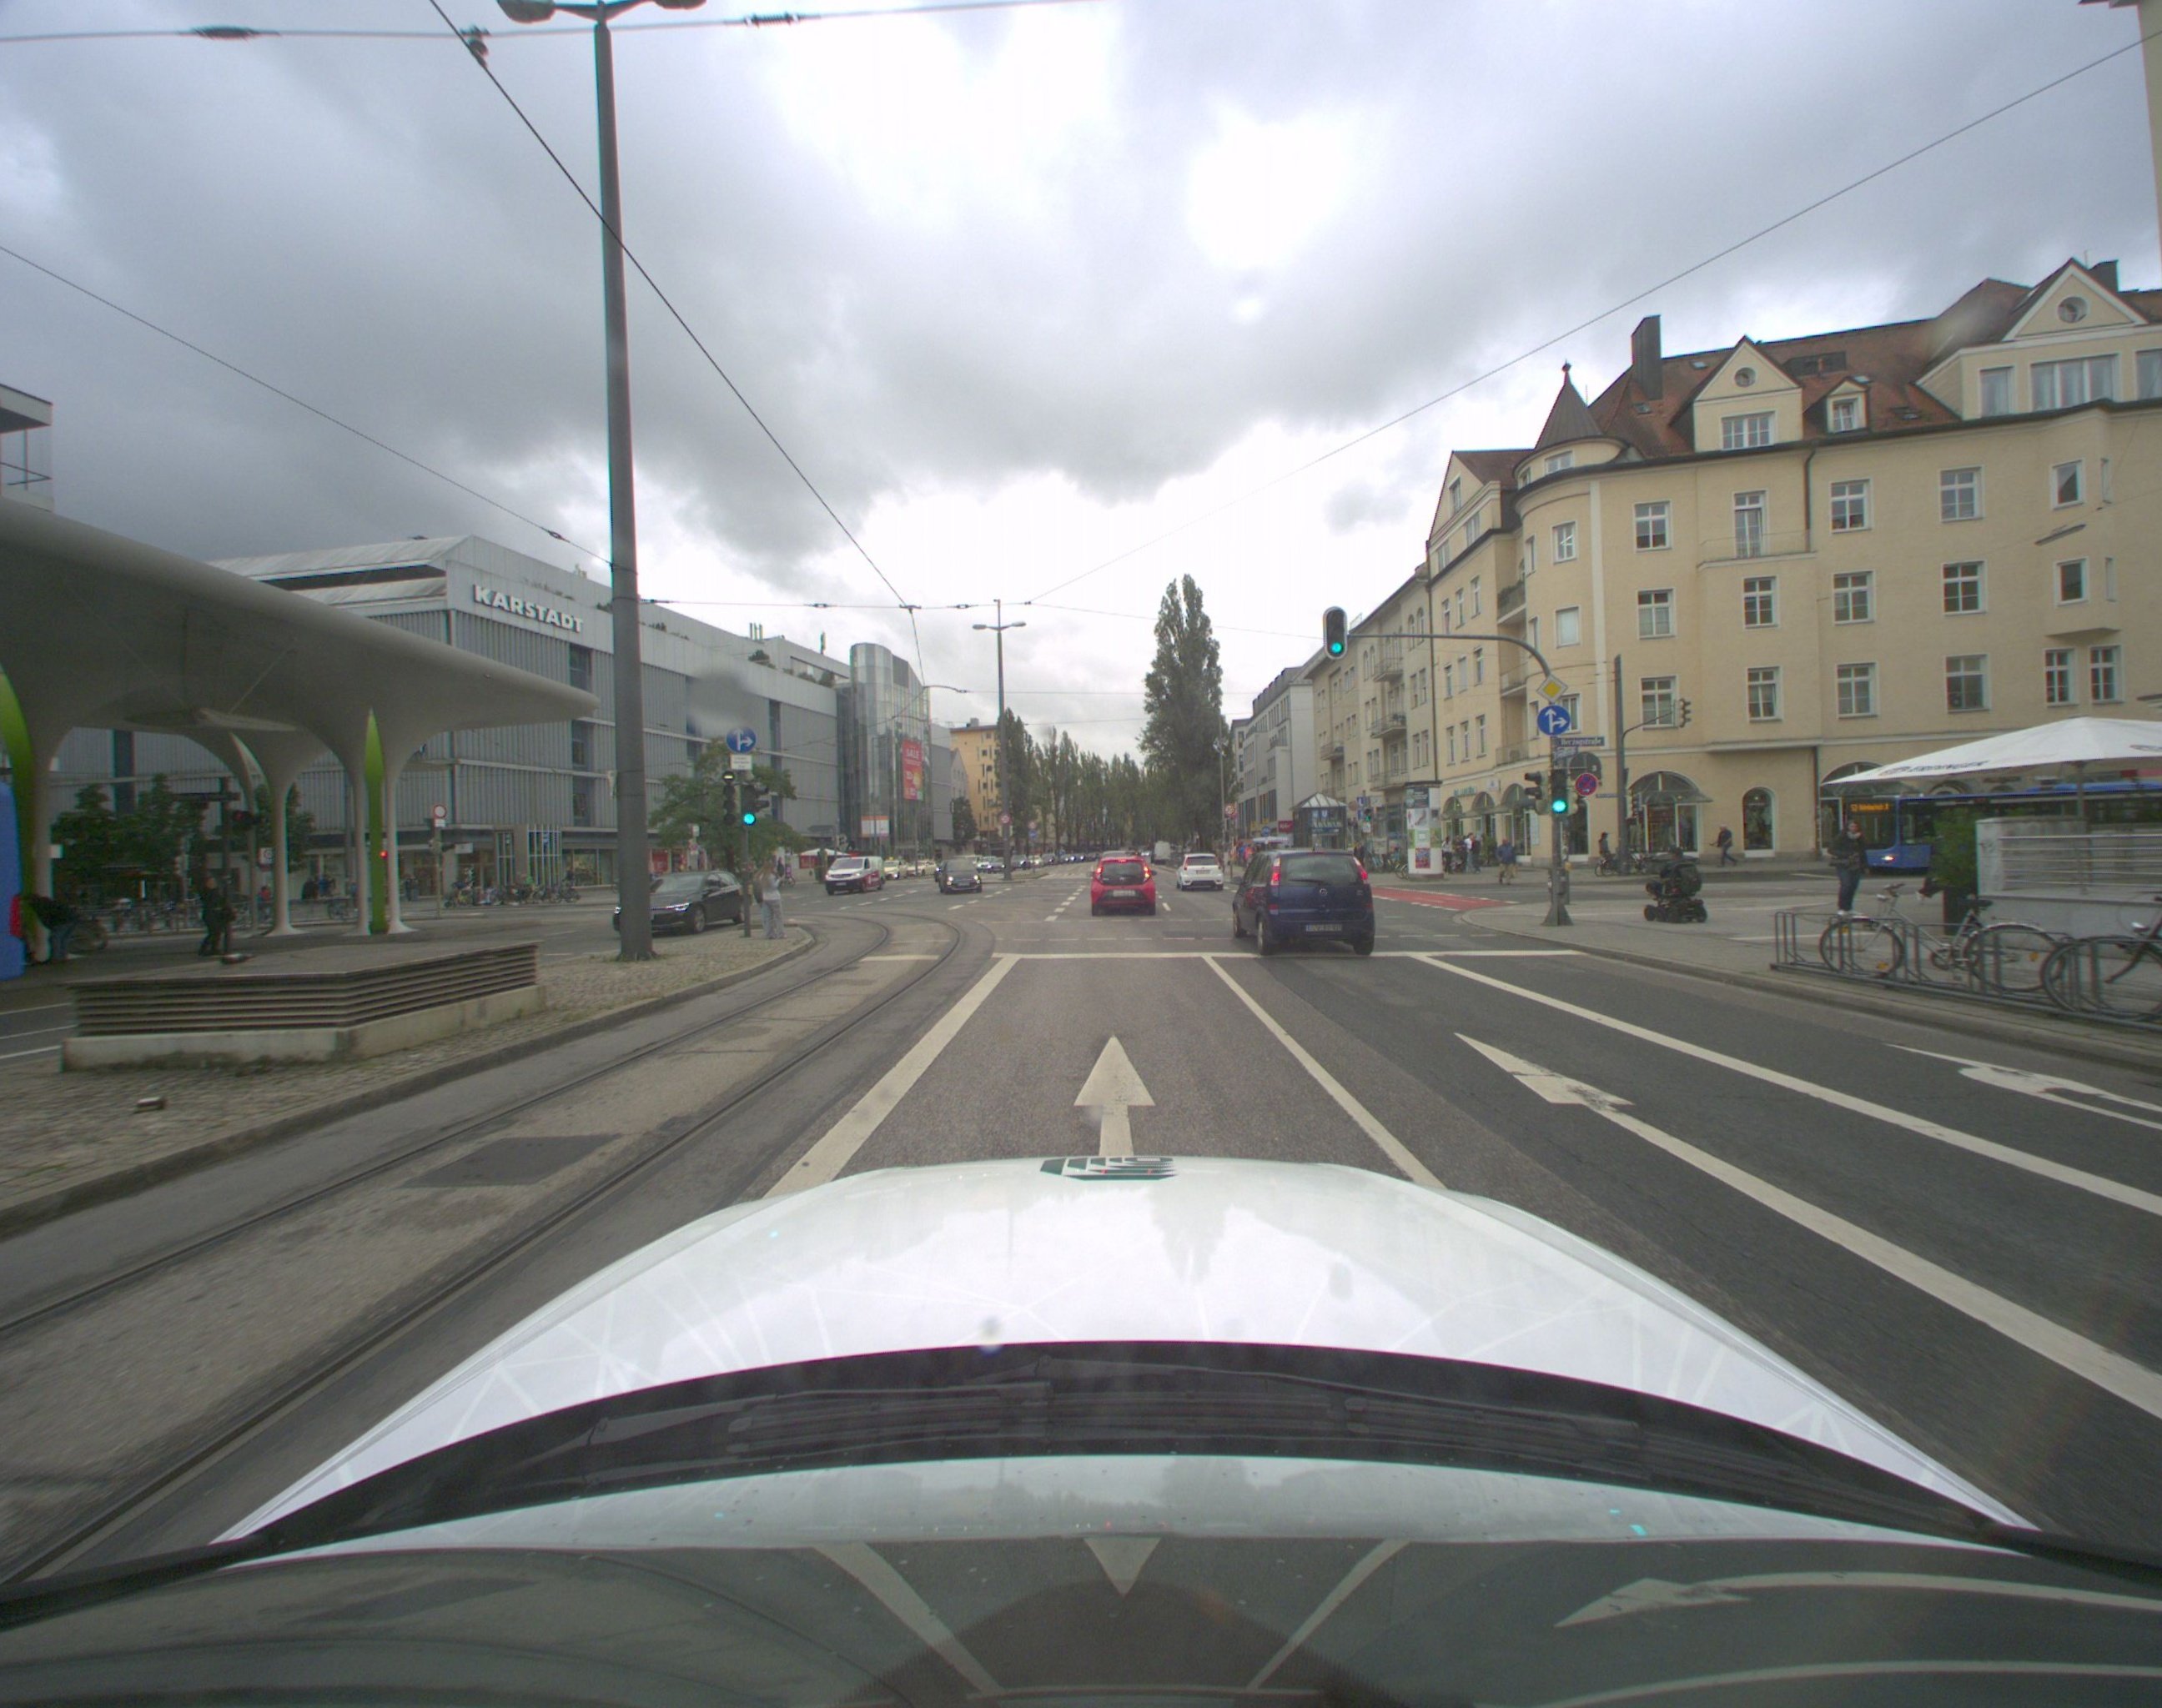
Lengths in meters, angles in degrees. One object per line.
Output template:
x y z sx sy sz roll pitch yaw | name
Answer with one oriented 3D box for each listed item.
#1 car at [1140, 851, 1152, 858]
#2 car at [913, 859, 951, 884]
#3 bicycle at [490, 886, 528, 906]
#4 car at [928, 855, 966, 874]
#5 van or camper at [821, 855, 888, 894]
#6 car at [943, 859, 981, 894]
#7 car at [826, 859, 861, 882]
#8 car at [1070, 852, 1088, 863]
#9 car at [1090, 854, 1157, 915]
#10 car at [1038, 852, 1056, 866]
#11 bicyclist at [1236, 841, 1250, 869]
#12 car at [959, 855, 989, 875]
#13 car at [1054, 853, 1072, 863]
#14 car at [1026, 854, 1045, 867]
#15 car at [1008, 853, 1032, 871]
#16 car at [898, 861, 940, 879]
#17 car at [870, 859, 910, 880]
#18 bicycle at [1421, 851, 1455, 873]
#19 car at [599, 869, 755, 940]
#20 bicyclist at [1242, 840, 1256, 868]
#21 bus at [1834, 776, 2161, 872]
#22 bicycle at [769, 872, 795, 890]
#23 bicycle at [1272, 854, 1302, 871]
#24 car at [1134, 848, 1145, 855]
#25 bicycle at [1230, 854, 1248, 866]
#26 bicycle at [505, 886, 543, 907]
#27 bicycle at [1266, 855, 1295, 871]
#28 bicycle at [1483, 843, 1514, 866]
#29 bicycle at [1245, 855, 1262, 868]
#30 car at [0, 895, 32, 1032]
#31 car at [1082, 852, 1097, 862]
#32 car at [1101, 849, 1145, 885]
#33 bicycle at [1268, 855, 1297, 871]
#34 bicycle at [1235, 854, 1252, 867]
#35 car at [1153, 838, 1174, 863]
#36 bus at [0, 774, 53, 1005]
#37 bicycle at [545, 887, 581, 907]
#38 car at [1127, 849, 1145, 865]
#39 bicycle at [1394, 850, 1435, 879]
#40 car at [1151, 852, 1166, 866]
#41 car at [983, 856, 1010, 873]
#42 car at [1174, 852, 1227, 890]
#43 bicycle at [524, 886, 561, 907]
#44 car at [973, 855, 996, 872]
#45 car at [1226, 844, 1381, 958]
15.188 0.083 190.267 1.979 1.691 4.431 -2 0 15 | car
-9.797 1.117 53.921 1.658 1.508 4.281 -2 0 0 | car
-29.625 2.180 42.216 0.525 0.998 1.987 -2 -2 3 | bicycle
-12.915 1.003 78.712 1.979 1.679 4.200 -2 0 15 | car
-11.806 1.008 42.857 1.922 1.826 5.440 -2 0 0 | van or camper
-5.372 0.959 36.548 1.545 1.445 3.527 -2 0 -10 | car
-18.097 1.228 62.186 1.994 1.536 4.399 -3 1 -10 | car
-0.303 0.542 129.804 1.980 1.534 4.603 -2 0 12 | car
1.125 0.743 21.369 1.598 1.461 3.132 -1 0 3 | car
-4.406 0.703 106.543 1.928 1.739 4.592 -2 0 3 | car
10.872 0.057 54.676 0.759 1.870 1.133 -2 0 3 | bicyclist
-11.866 1.208 90.373 1.983 2.013 5.533 -2 0 6 | car
-2.598 0.570 119.395 1.833 1.382 4.613 -1 -1 10 | car
-5.303 0.739 95.855 1.758 1.421 4.642 -2 0 3 | car
-6.380 0.808 85.611 1.735 1.670 4.737 -2 0 4 | car
-14.393 1.400 72.635 1.980 1.508 4.649 -1 0 11 | car
-15.359 1.202 65.719 1.893 1.543 4.396 -2 0 3 | car
17.678 0.396 40.366 0.495 1.059 1.858 -2 0 -13 | bicycle
-9.604 1.141 19.751 1.838 1.416 4.032 -2 0 -2 | car
10.011 -0.002 48.609 0.611 1.657 1.252 -2 0 3 | bicyclist
35.282 -1.113 28.556 13.468 2.967 2.825 -2 1 12 | bus
-19.483 1.745 53.064 1.566 1.112 0.374 -2 0 5 | bicycle
12.818 0.545 50.655 1.748 0.964 0.453 -2 0 0 | bicycle
14.387 -0.577 199.598 1.979 1.691 4.431 -2 0 15 | car
13.129 0.488 67.526 1.423 0.963 0.370 -2 0 7 | bicycle
-28.796 2.182 42.165 0.525 0.998 1.987 -2 -2 3 | bicycle
12.886 0.552 52.569 1.747 0.964 0.369 -2 0 2 | bicycle
20.728 0.024 40.462 0.493 1.089 1.864 -2 0 -4 | bicycle
12.940 0.568 61.134 1.175 0.963 0.370 -2 0 6 | bicycle
-11.976 1.173 6.493 1.672 1.395 4.232 -3 0 0 | car
1.466 0.504 138.941 1.982 1.692 4.931 -1 -1 8 | car
2.019 0.595 39.637 1.986 1.618 4.001 -2 0 2 | car
12.823 0.558 51.878 1.747 0.964 0.453 -2 0 2 | bicycle
13.188 0.530 65.982 1.255 0.963 0.370 -2 0 4 | bicycle
9.652 -0.405 95.564 2.098 2.718 4.808 -2 0 3 | car
-15.547 0.546 7.355 2.650 3.007 7.517 -4 0 2 | bus
-26.623 2.192 41.876 0.525 0.998 1.987 -2 -2 3 | bicycle
6.389 0.352 95.296 1.986 1.838 4.002 -2 0 2 | car
14.615 0.458 35.712 1.561 1.160 0.525 -3 1 4 | bicycle
9.677 0.653 101.815 1.696 1.662 3.558 -1 0 2 | car
-7.587 0.940 73.619 1.987 1.412 4.167 1 0 0 | car
4.756 0.647 32.889 1.693 1.426 3.498 -2 0 2 | car
-27.776 2.187 42.047 0.525 0.998 1.987 -2 -2 3 | bicycle
-9.731 0.971 82.444 1.692 1.596 4.001 -2 0 1 | car
3.471 0.664 13.331 1.696 1.589 3.558 -1 0 2 | car
